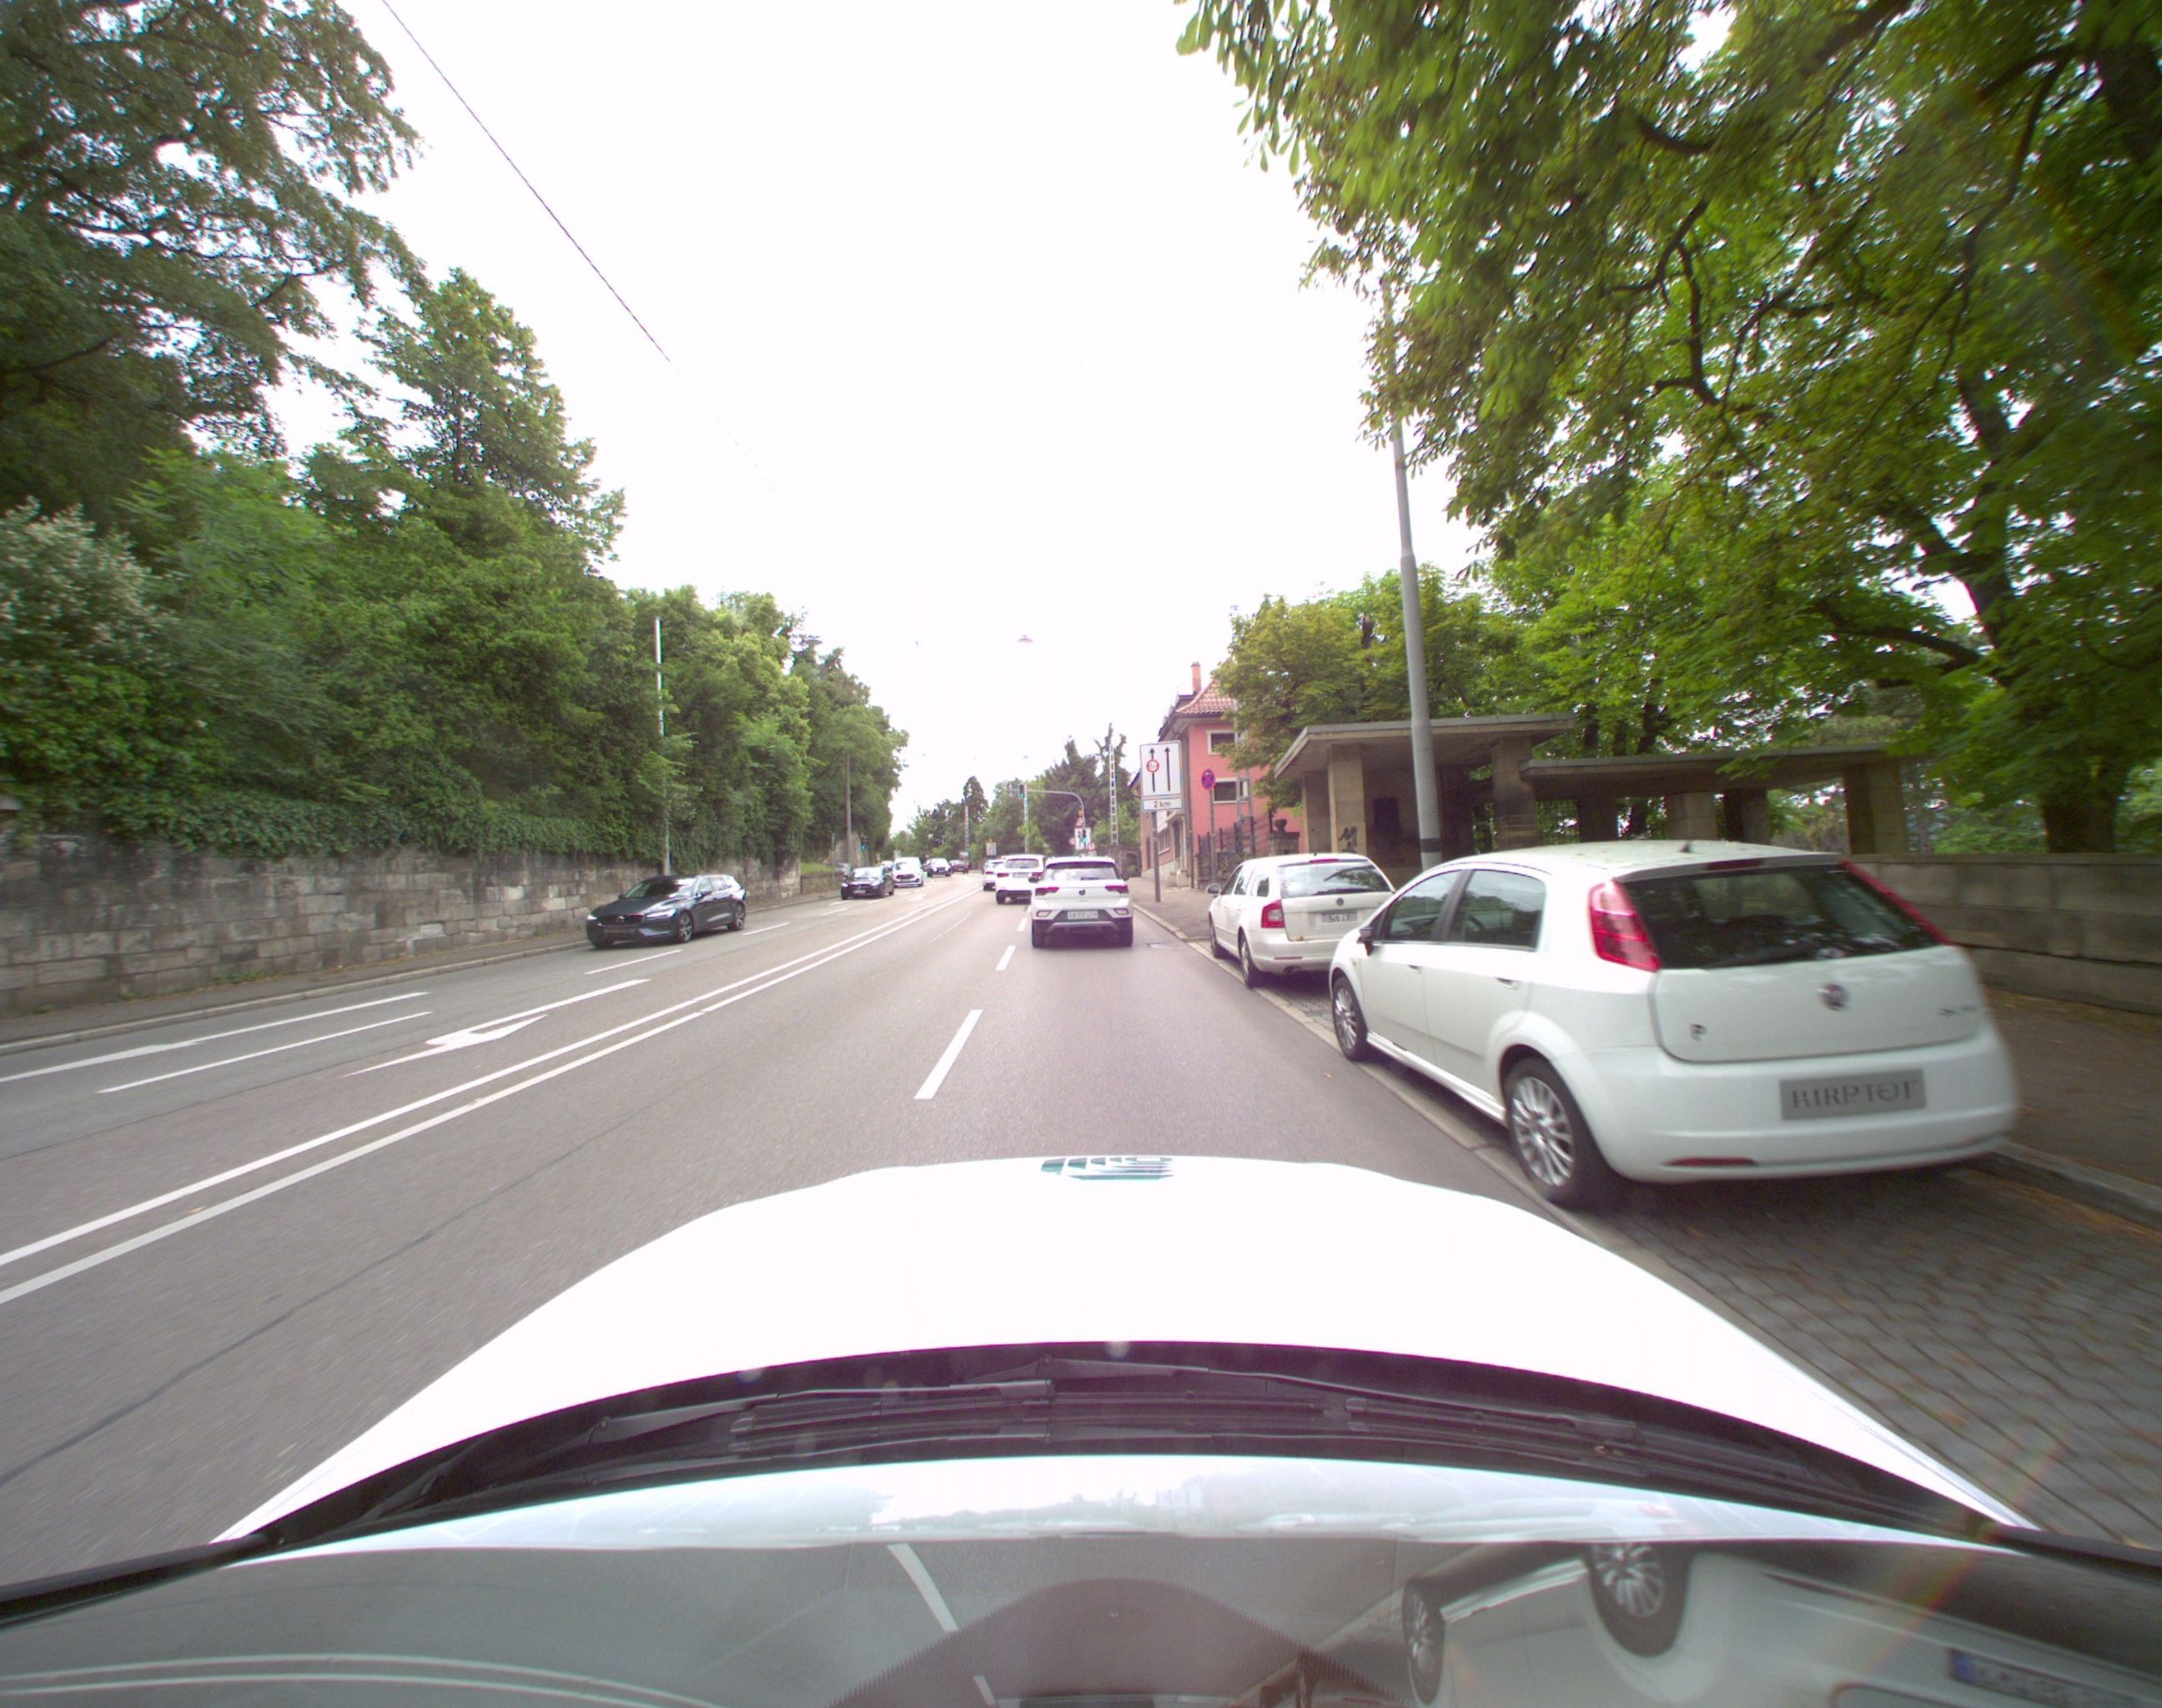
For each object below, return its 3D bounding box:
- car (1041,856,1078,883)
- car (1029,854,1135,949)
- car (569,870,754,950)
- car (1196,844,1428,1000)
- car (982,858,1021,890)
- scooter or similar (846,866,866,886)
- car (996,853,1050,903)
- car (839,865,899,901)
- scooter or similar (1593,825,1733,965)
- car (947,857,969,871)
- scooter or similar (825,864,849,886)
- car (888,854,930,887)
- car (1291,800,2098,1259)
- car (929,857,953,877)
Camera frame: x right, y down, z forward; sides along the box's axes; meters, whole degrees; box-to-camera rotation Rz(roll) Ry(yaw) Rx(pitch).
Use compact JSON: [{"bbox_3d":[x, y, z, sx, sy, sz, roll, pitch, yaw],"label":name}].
[{"bbox_3d":[-1.236,0.918,46.940,1.988,1.414,4.147,-2,-1,-2],"label":"car"},{"bbox_3d":[-0.016,0.815,15.364,1.752,1.556,3.793,0,-1,-1],"label":"car"},{"bbox_3d":[-9.125,1.142,18.210,1.838,1.409,4.453,-3,-1,-2],"label":"car"},{"bbox_3d":[2.638,0.701,10.399,1.670,1.461,4.365,-4,0,0],"label":"car"},{"bbox_3d":[-3.818,0.965,39.187,1.755,1.471,3.788,0,-1,-5],"label":"car"},{"bbox_3d":[-14.295,1.421,51.825,0.429,1.237,1.105,1,-2,39],"label":"scooter or similar"},{"bbox_3d":[-1.986,0.811,28.423,1.754,1.610,3.790,0,-1,-3],"label":"car"},{"bbox_3d":[-9.328,1.242,36.079,1.558,1.402,4.250,-3,-1,-2],"label":"car"},{"bbox_3d":[5.782,0.382,8.164,0.514,1.260,1.169,-5,0,4],"label":"scooter or similar"},{"bbox_3d":[-13.275,1.098,87.449,1.785,1.454,3.977,-1,-1,-17],"label":"car"},{"bbox_3d":[-15.149,1.303,50.606,0.429,1.238,1.358,2,-6,32],"label":"scooter or similar"},{"bbox_3d":[-10.566,1.015,50.251,1.889,1.848,4.388,3,-2,-5],"label":"car"},{"bbox_3d":[2.717,0.619,4.923,1.710,1.471,4.037,-5,0,-1],"label":"car"},{"bbox_3d":[-12.564,1.141,73.299,1.846,1.632,4.352,-2,0,-6],"label":"car"}]
